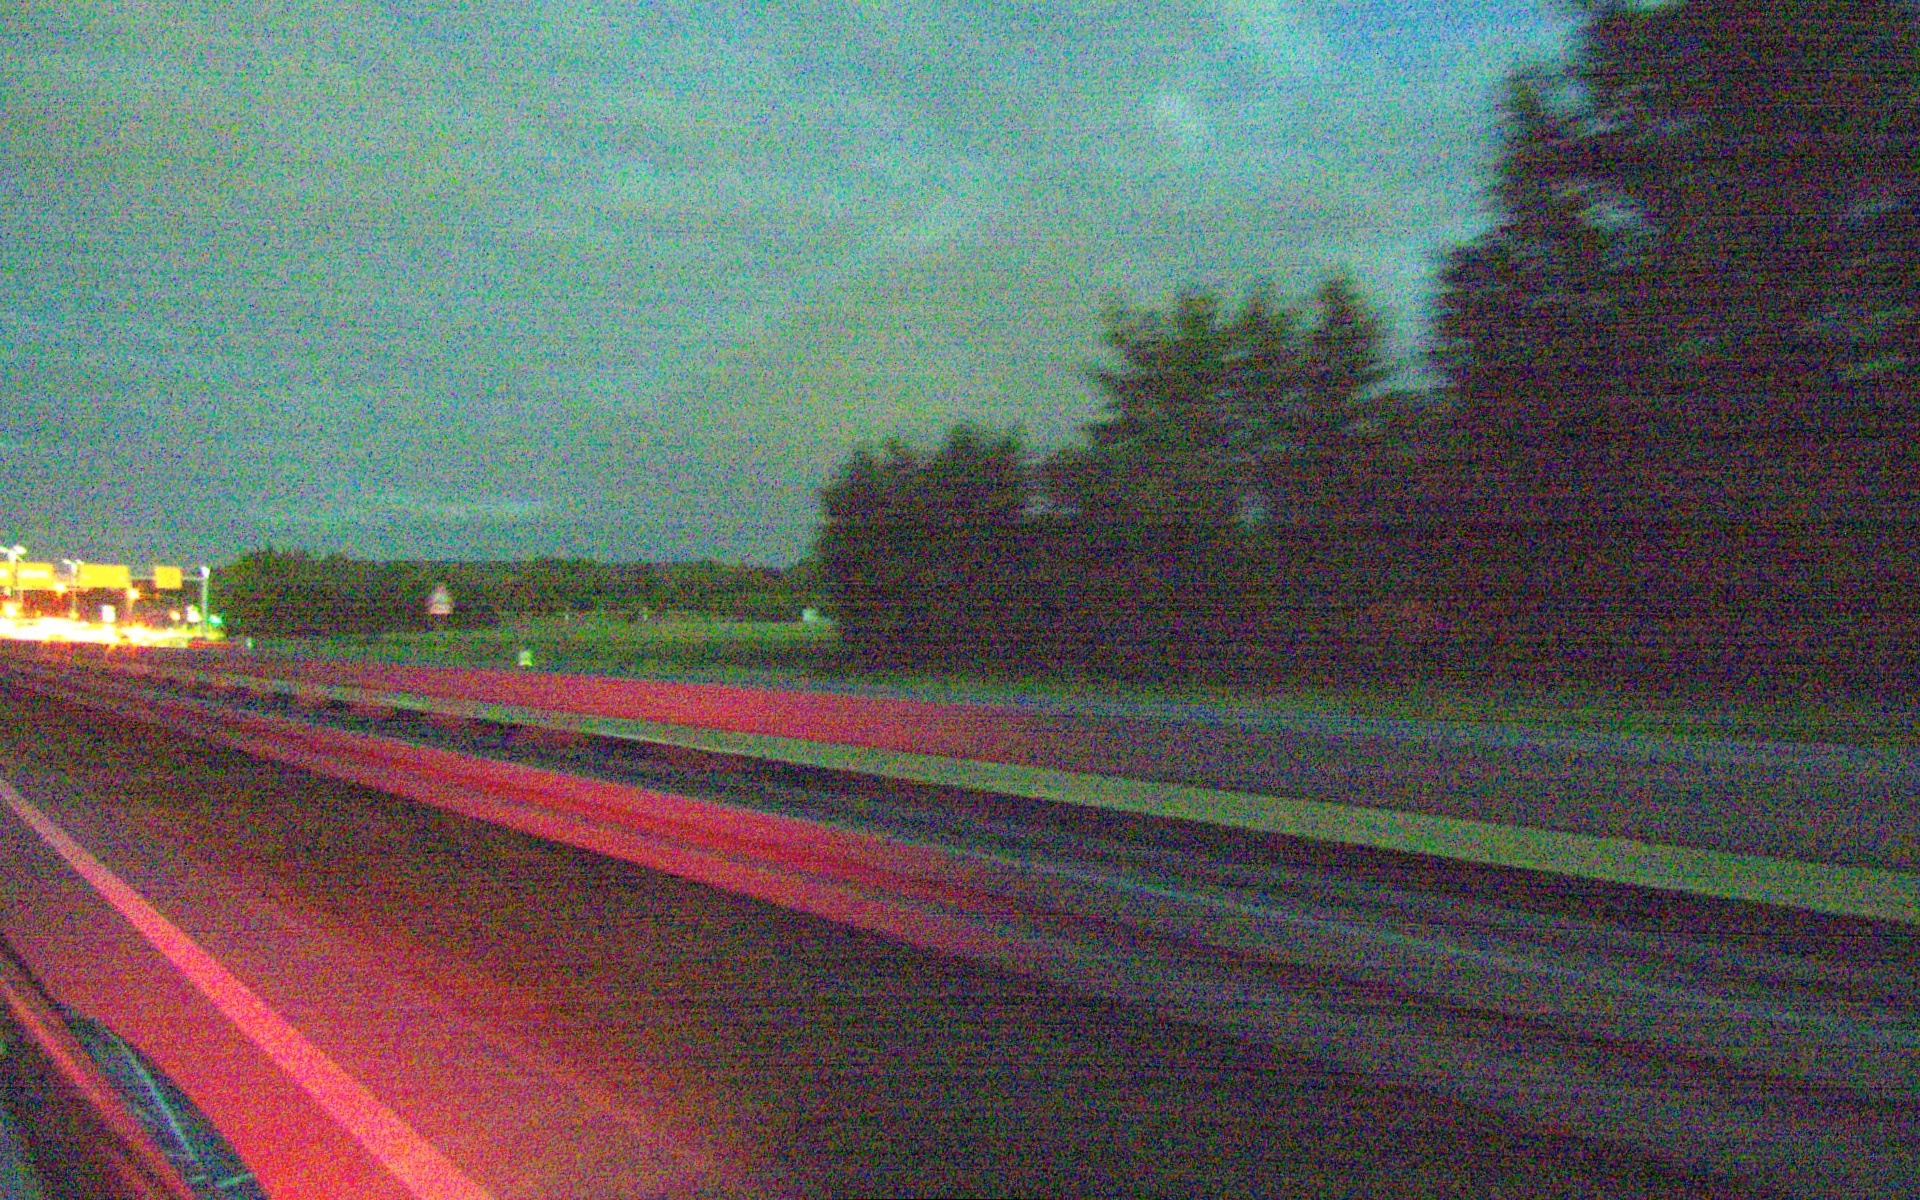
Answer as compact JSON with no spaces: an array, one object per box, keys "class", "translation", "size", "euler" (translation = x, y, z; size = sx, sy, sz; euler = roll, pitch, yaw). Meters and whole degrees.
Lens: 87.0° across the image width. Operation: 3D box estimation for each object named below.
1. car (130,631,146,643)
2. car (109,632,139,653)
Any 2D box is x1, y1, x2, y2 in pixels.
[{"class":"car","translation":[-114.367,5.128,140.789],"size":[1.632,1.487,4.007],"euler":[-1,0,-39]},{"class":"car","translation":[-64.235,3.276,77.764],"size":[1.698,1.458,4.390],"euler":[-1,0,-39]}]
